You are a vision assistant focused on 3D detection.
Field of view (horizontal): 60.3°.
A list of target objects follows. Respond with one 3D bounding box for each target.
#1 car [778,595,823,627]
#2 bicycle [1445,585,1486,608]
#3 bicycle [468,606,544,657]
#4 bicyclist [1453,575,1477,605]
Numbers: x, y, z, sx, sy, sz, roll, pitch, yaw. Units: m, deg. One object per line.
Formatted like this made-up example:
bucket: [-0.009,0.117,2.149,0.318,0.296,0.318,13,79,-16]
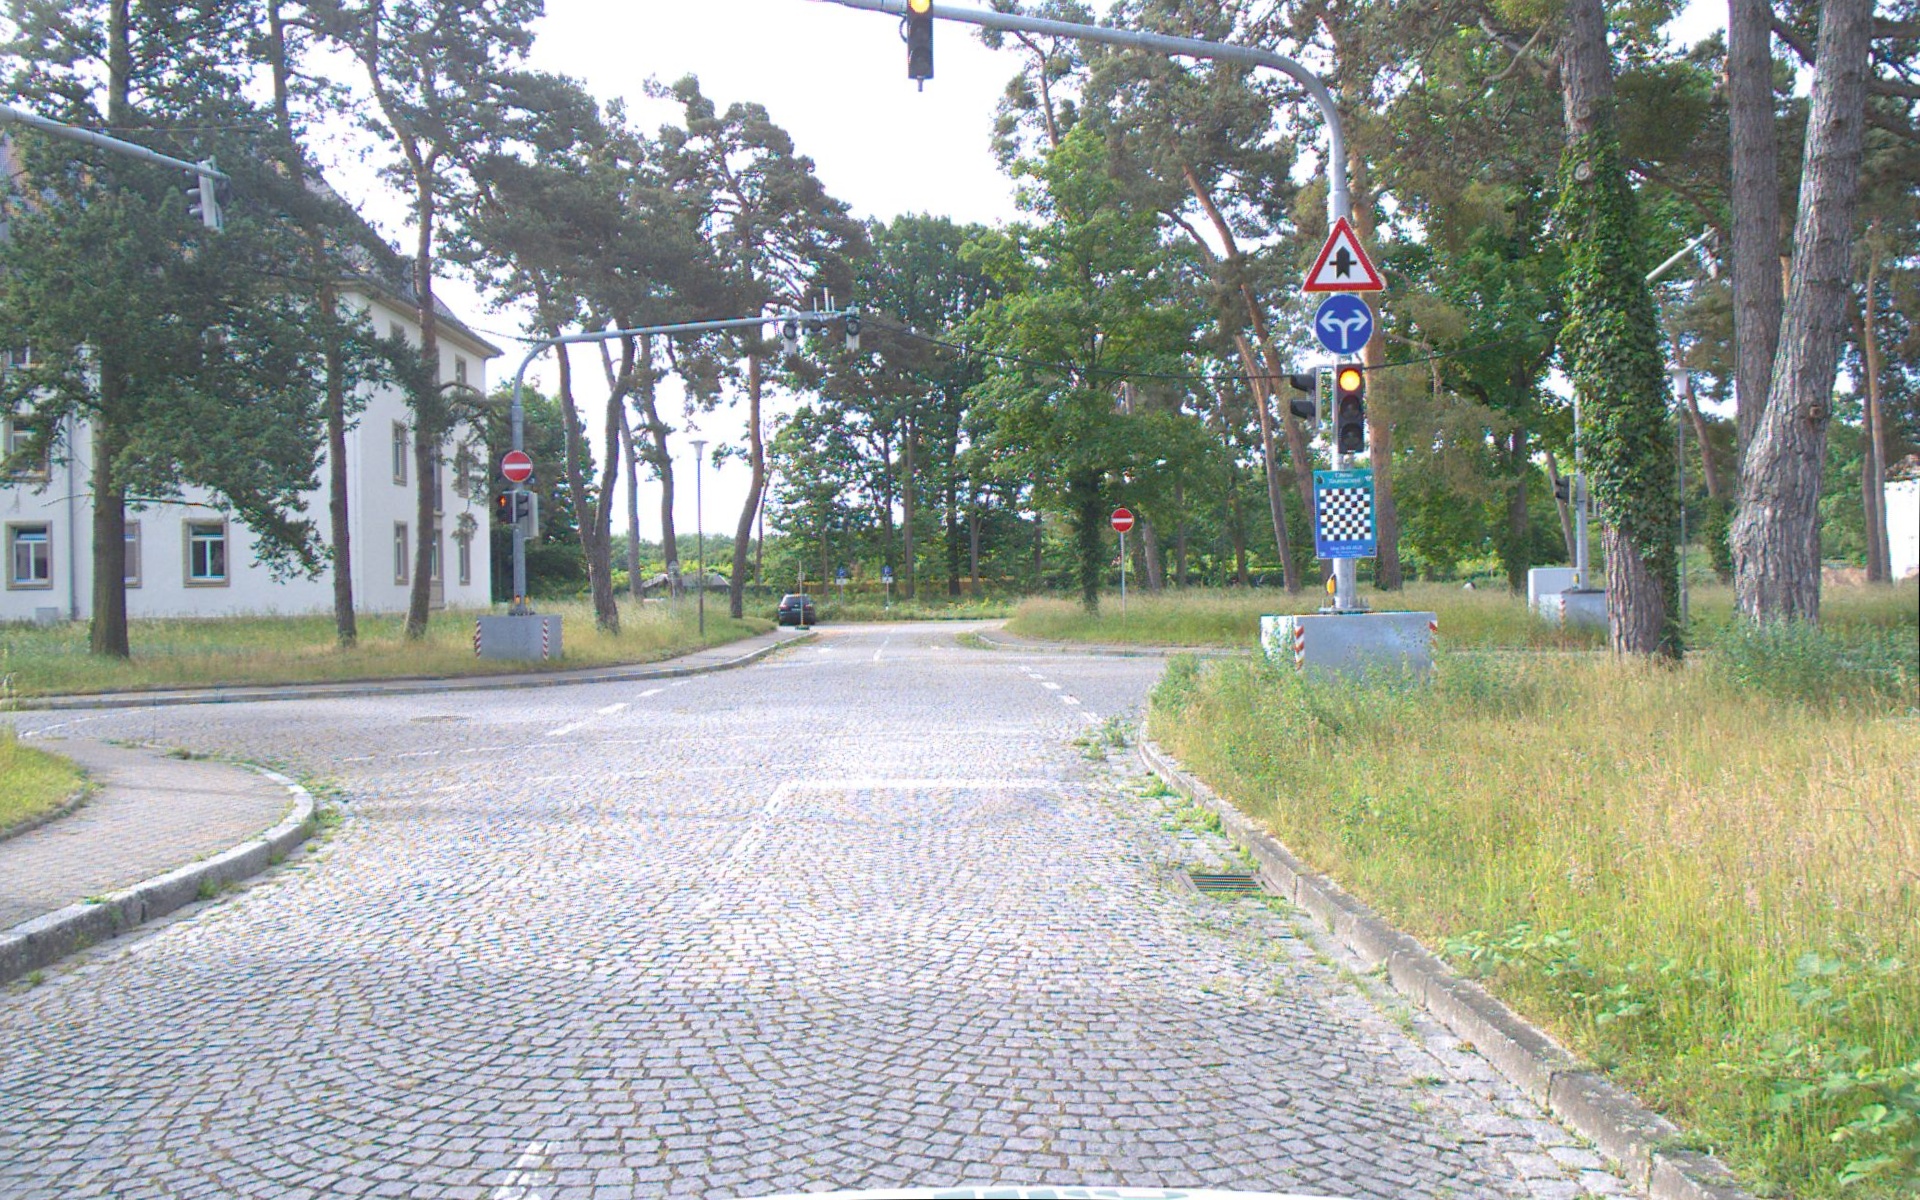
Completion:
car: [-8.047,0.546,83.800,1.953,1.534,3.999,1,0,-1]
bicycle: [26.798,-0.189,87.683,1.948,1.114,0.809,-2,0,-6]
bicycle: [-9.291,0.640,33.872,1.432,1.013,0.451,-1,0,-9]
bicyclist: [26.773,-0.531,87.667,0.955,1.537,0.806,-1,0,-5]
